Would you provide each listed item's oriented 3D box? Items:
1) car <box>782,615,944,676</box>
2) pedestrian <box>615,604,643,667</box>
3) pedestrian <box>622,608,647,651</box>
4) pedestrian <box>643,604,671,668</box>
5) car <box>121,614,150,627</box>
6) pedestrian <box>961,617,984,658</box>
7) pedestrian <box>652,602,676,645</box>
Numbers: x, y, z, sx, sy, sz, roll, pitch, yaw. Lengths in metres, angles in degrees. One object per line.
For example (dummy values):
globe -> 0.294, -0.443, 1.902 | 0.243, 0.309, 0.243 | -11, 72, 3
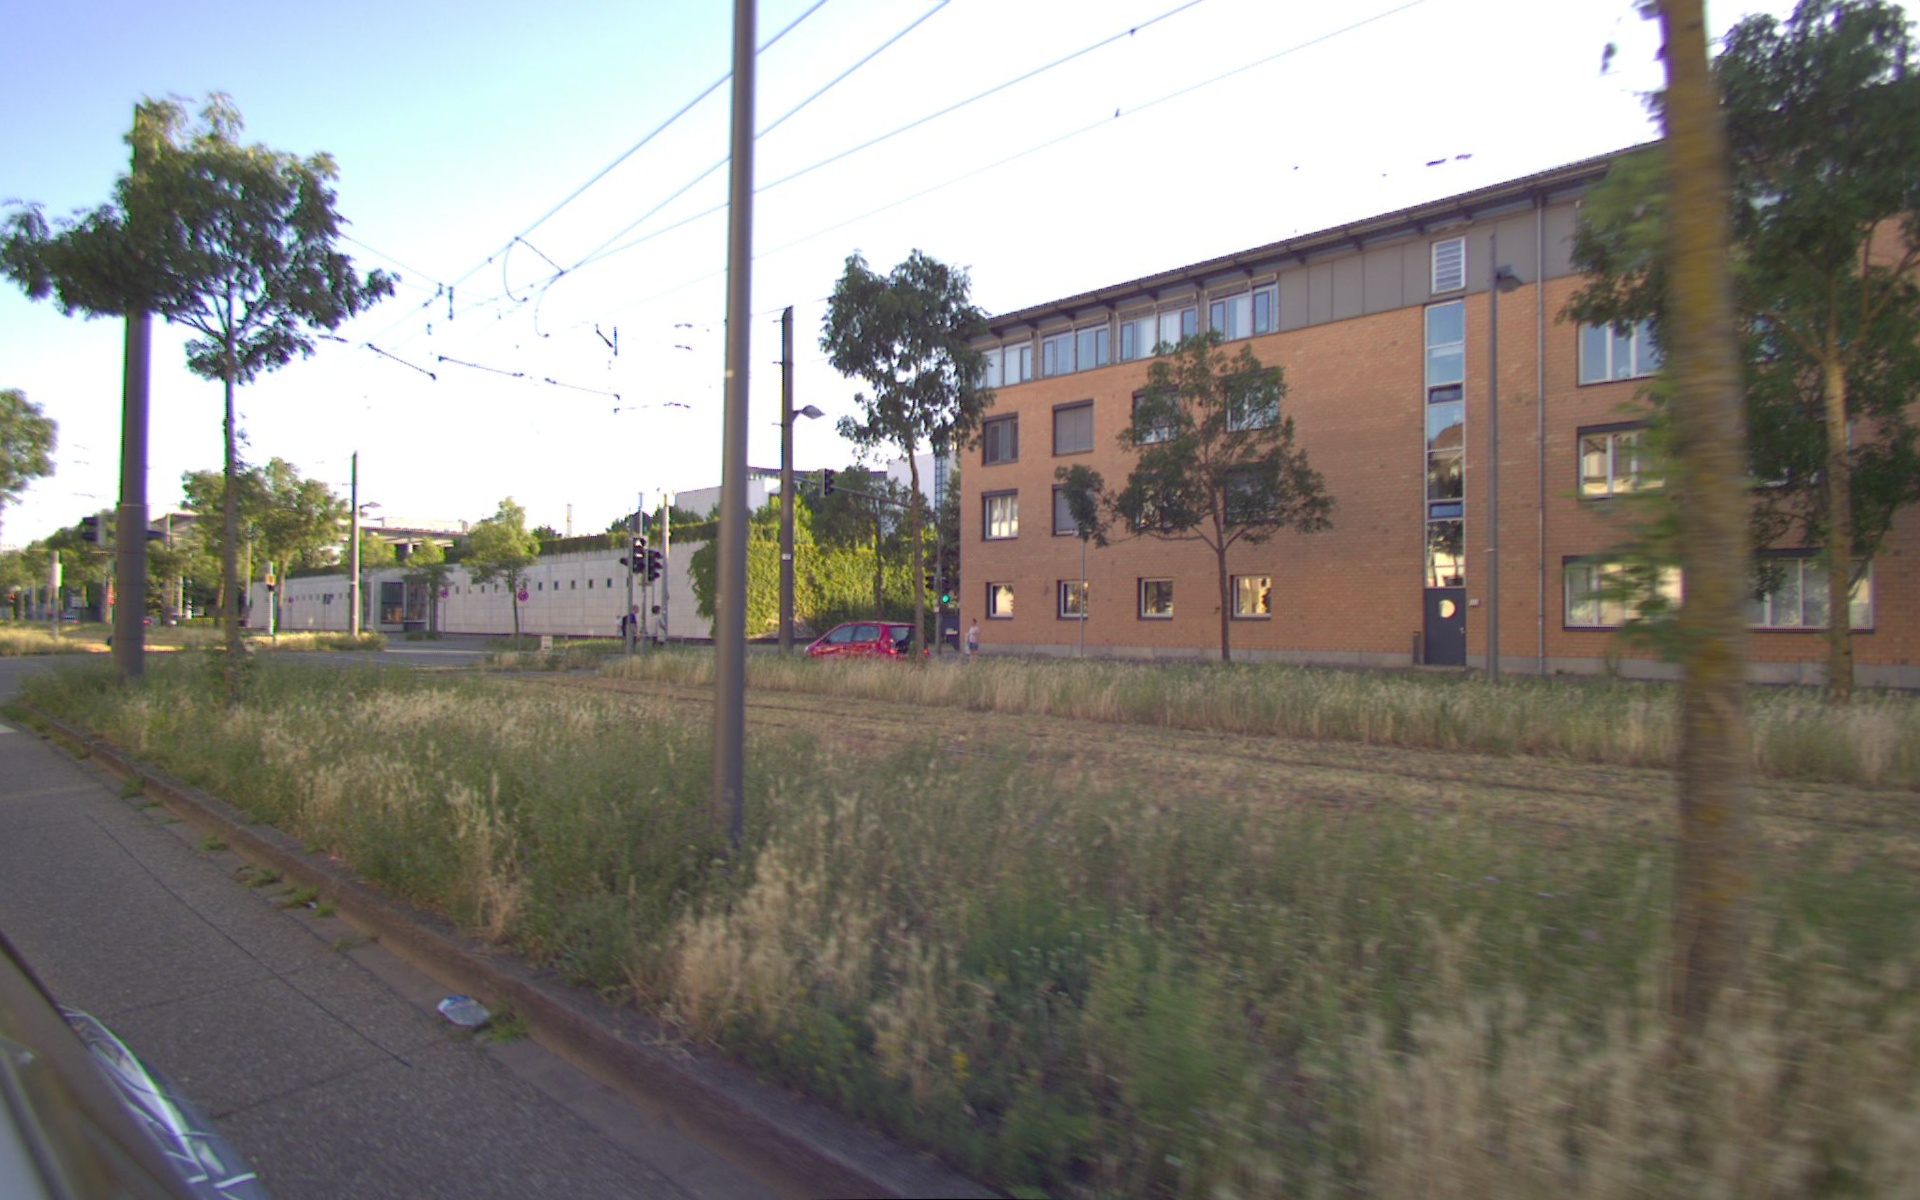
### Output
car -> -2.452, 1.062, 24.988 | 3.999, 1.386, 1.771 | -1, -1, 42
pedestrian -> -8.966, 0.957, 27.426 | 0.544, 1.697, 0.512 | 0, -1, 12
pedestrian -> -15.324, 1.373, 47.636 | 0.864, 2.029, 0.723 | -1, -1, 28
pedestrian -> -8.054, 0.949, 26.924 | 0.544, 1.697, 0.512 | 0, -1, 12
car -> -85.984, 2.143, 105.516 | 3.999, 1.386, 1.771 | -1, -1, 42
pedestrian -> 0.426, 1.268, 34.712 | 0.574, 1.378, 0.580 | -1, -1, 36
pedestrian -> -14.131, 1.103, 48.307 | 0.864, 2.029, 0.723 | -1, -1, 28
